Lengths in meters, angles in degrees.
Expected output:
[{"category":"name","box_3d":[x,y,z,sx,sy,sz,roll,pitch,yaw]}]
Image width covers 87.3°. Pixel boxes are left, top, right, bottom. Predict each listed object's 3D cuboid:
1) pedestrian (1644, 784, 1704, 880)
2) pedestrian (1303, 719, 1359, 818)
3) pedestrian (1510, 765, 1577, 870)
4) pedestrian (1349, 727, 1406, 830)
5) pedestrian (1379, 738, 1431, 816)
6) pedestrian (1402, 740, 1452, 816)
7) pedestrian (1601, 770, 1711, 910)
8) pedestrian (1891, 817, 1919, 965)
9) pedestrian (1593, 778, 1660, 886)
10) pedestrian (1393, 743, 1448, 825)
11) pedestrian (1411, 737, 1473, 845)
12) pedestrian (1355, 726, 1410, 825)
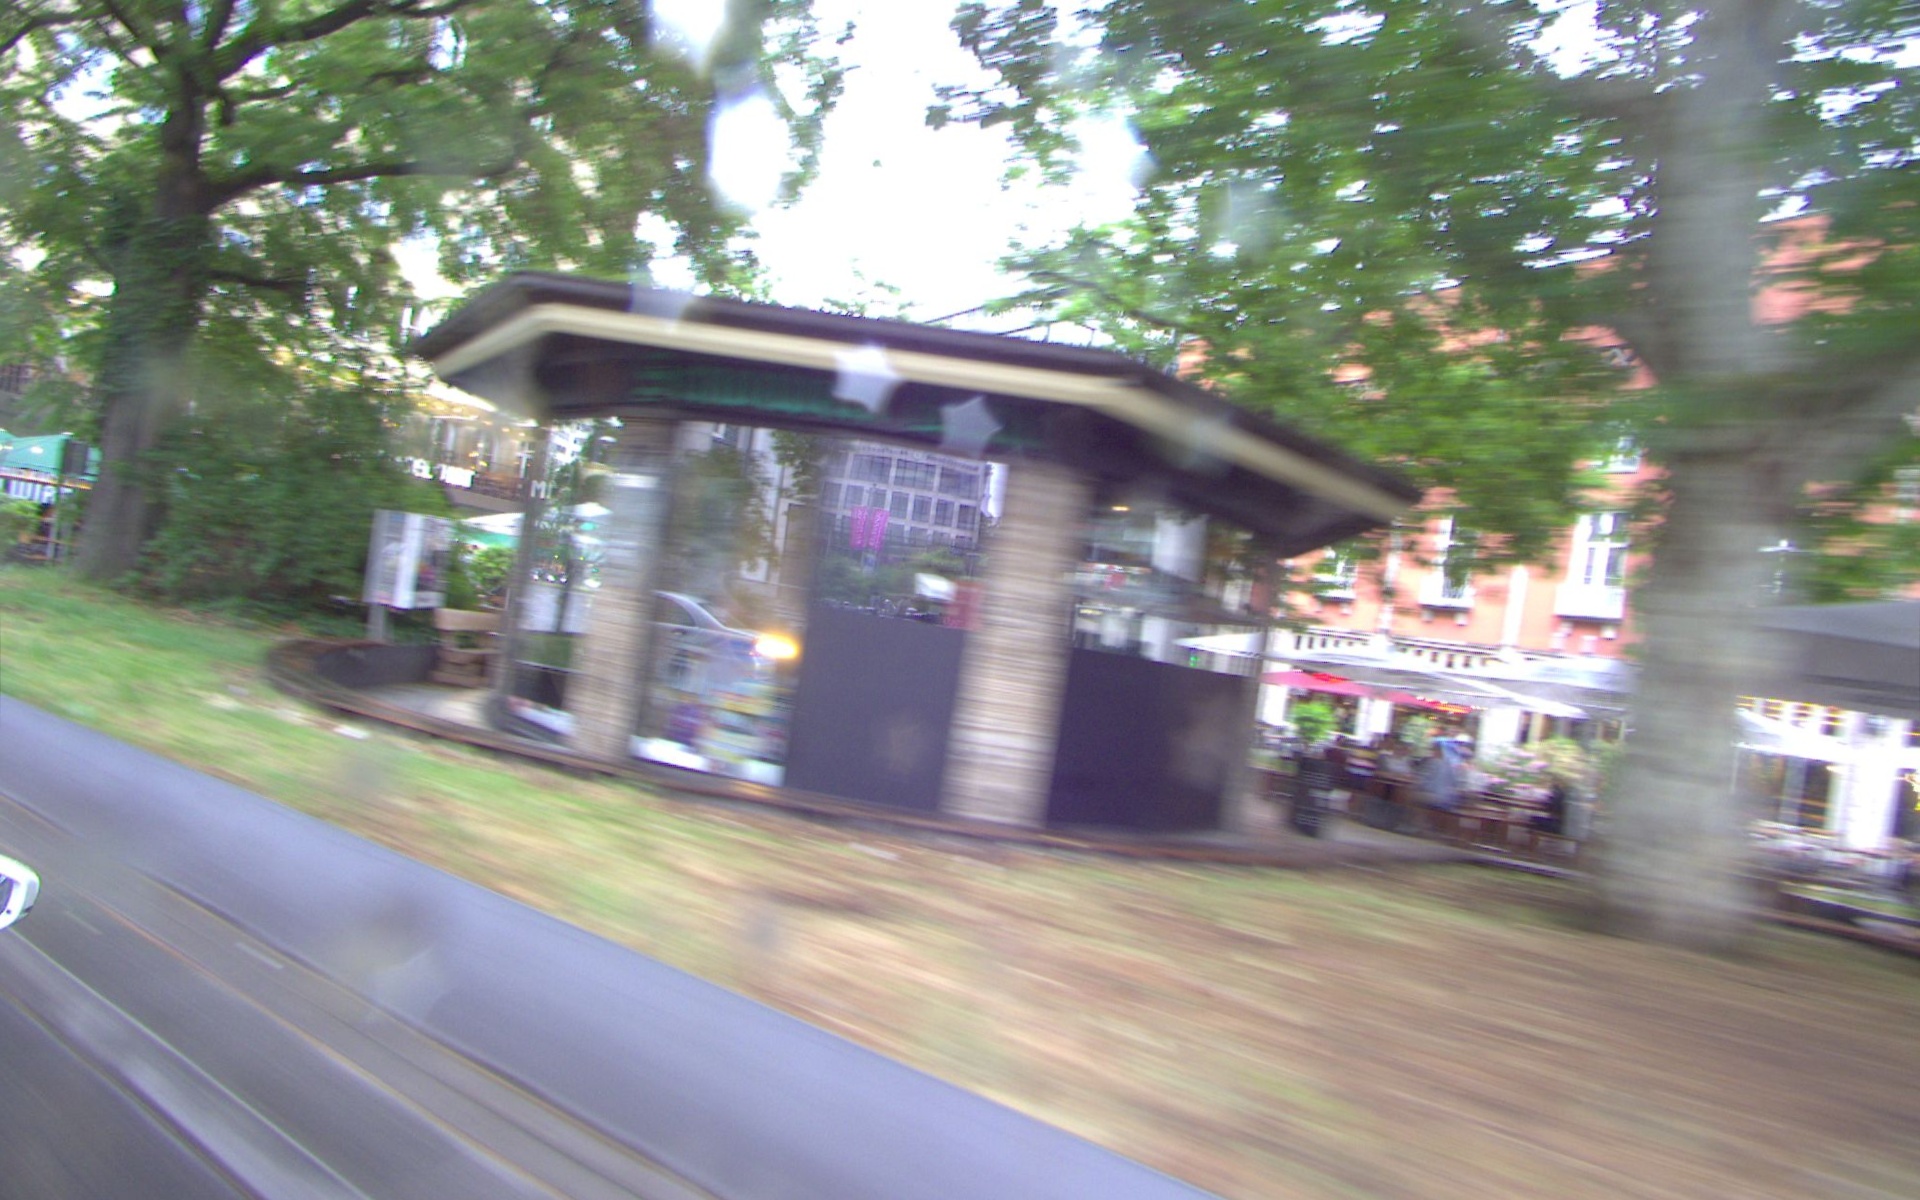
[{"category":"pedestrian","box_3d":[10.536,3.404,14.853,0.600,1.263,0.629,7,-4,36]},{"category":"pedestrian","box_3d":[5.874,2.653,15.921,0.619,1.426,0.610,8,-3,24]},{"category":"pedestrian","box_3d":[7.896,2.927,13.612,0.600,1.263,0.629,7,-4,36]},{"category":"pedestrian","box_3d":[6.325,2.689,15.237,0.619,1.426,0.610,8,-3,24]},{"category":"pedestrian","box_3d":[7.984,3.173,18.062,0.600,1.263,0.629,7,-4,36]},{"category":"pedestrian","box_3d":[8.570,3.271,18.459,0.600,1.263,0.629,7,-4,36]},{"category":"pedestrian","box_3d":[5.711,1.940,8.261,0.629,0.963,0.617,7,-1,36]},{"category":"pedestrian","box_3d":[6.960,2.062,6.946,0.629,0.963,0.617,7,-1,36]},{"category":"pedestrian","box_3d":[8.791,3.039,13.269,0.600,1.263,0.629,7,-4,36]},{"category":"pedestrian","box_3d":[7.824,3.112,17.077,0.600,1.263,0.629,7,-4,36]},{"category":"pedestrian","box_3d":[7.004,2.760,14.641,0.619,1.426,0.610,8,-3,24]},{"category":"pedestrian","box_3d":[6.689,2.767,15.936,0.619,1.426,0.610,8,-3,24]}]
